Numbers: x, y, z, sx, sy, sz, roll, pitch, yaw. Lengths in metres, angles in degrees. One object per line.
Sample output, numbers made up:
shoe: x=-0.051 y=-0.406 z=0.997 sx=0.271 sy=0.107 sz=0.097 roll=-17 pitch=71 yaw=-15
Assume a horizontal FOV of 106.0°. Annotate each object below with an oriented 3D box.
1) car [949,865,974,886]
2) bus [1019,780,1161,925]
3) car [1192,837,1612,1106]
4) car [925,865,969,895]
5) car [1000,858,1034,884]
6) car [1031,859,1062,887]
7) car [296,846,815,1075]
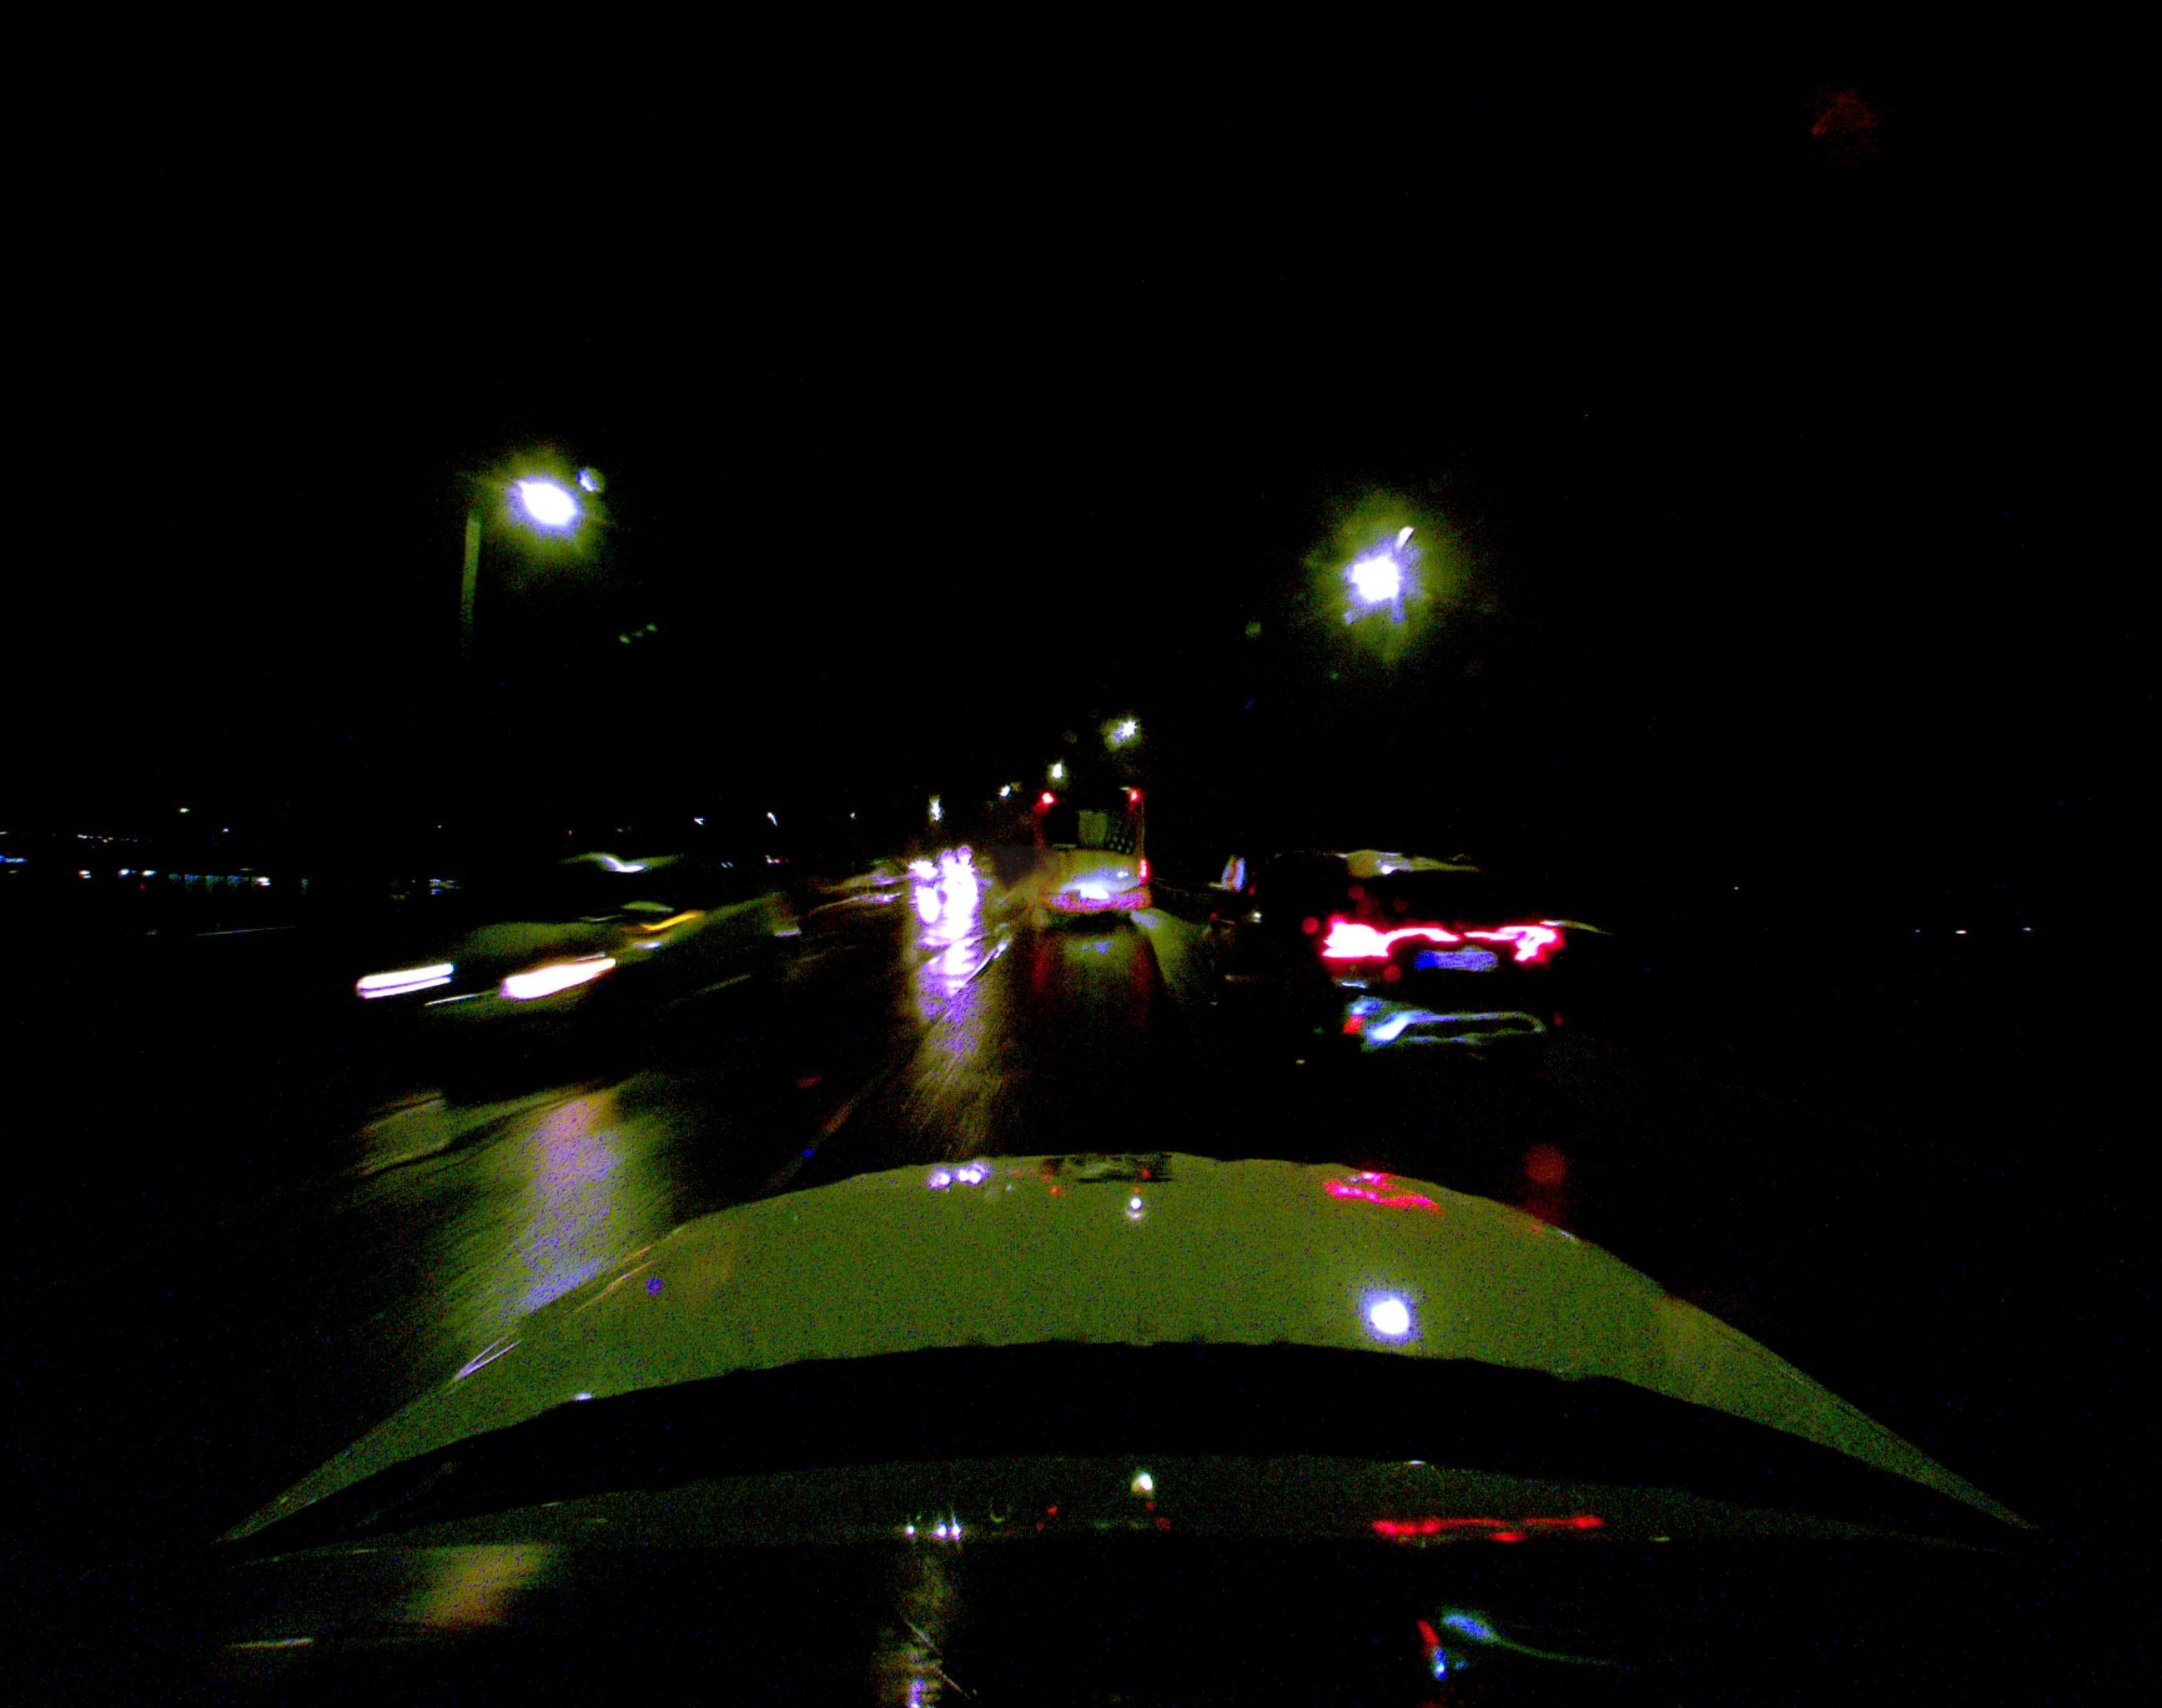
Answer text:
car: x=-8.917 y=1.589 z=60.906 sx=1.765 sy=1.427 sz=4.208 roll=-2 pitch=0 yaw=-7
bus: x=-0.195 y=-0.070 z=24.009 sx=3.077 sy=3.133 sz=12.680 roll=0 pitch=0 yaw=-4
car: x=2.255 y=0.735 z=6.994 sx=1.851 sy=1.586 sz=3.995 roll=-1 pitch=-1 yaw=-3
car: x=-7.347 y=1.375 z=44.827 sx=1.761 sy=1.517 sz=3.948 roll=-1 pitch=0 yaw=0
car: x=-5.364 y=1.459 z=67.865 sx=1.997 sy=2.014 sz=3.977 roll=5 pitch=-3 yaw=-16
car: x=-2.212 y=1.164 z=51.190 sx=1.635 sy=1.656 sz=3.700 roll=0 pitch=-1 yaw=-8
car: x=-4.687 y=0.784 z=8.364 sx=1.989 sy=1.675 sz=4.625 roll=0 pitch=0 yaw=6
